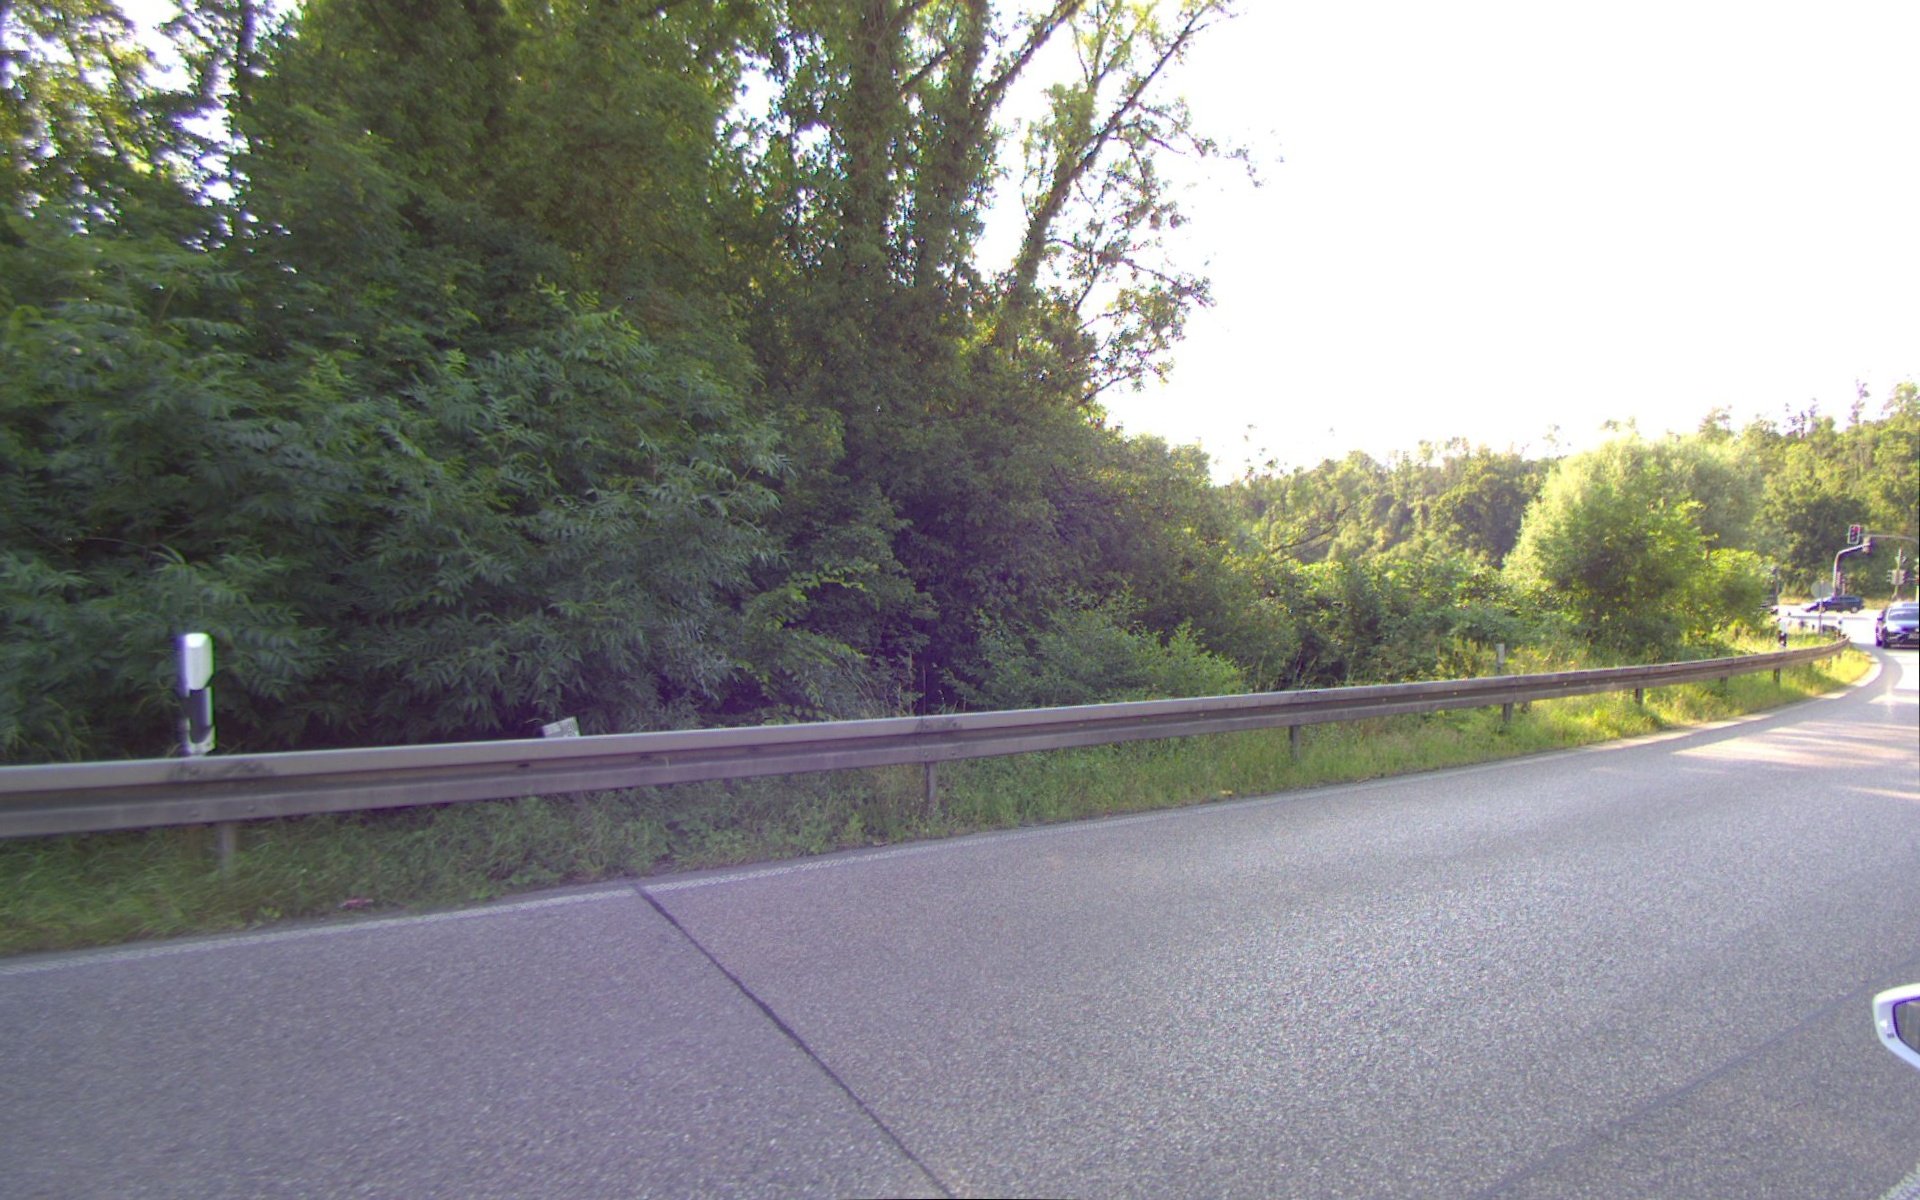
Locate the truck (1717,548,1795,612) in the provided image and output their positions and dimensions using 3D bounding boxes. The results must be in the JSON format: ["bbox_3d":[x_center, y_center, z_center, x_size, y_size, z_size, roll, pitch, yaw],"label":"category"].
[{"bbox_3d":[61.538,-1.420,77.924,2.967,4.646,10.223,2,0,29],"label":"truck"}]

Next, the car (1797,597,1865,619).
[{"bbox_3d":[74.173,0.670,85.617,3.919,1.578,1.874,2,2,8],"label":"car"}]

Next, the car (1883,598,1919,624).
[{"bbox_3d":[61.513,0.712,64.960,1.841,1.586,3.990,3,2,31],"label":"car"}]

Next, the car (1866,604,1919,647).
[{"bbox_3d":[36.586,0.950,38.923,1.844,1.586,3.984,0,0,37],"label":"car"}]
